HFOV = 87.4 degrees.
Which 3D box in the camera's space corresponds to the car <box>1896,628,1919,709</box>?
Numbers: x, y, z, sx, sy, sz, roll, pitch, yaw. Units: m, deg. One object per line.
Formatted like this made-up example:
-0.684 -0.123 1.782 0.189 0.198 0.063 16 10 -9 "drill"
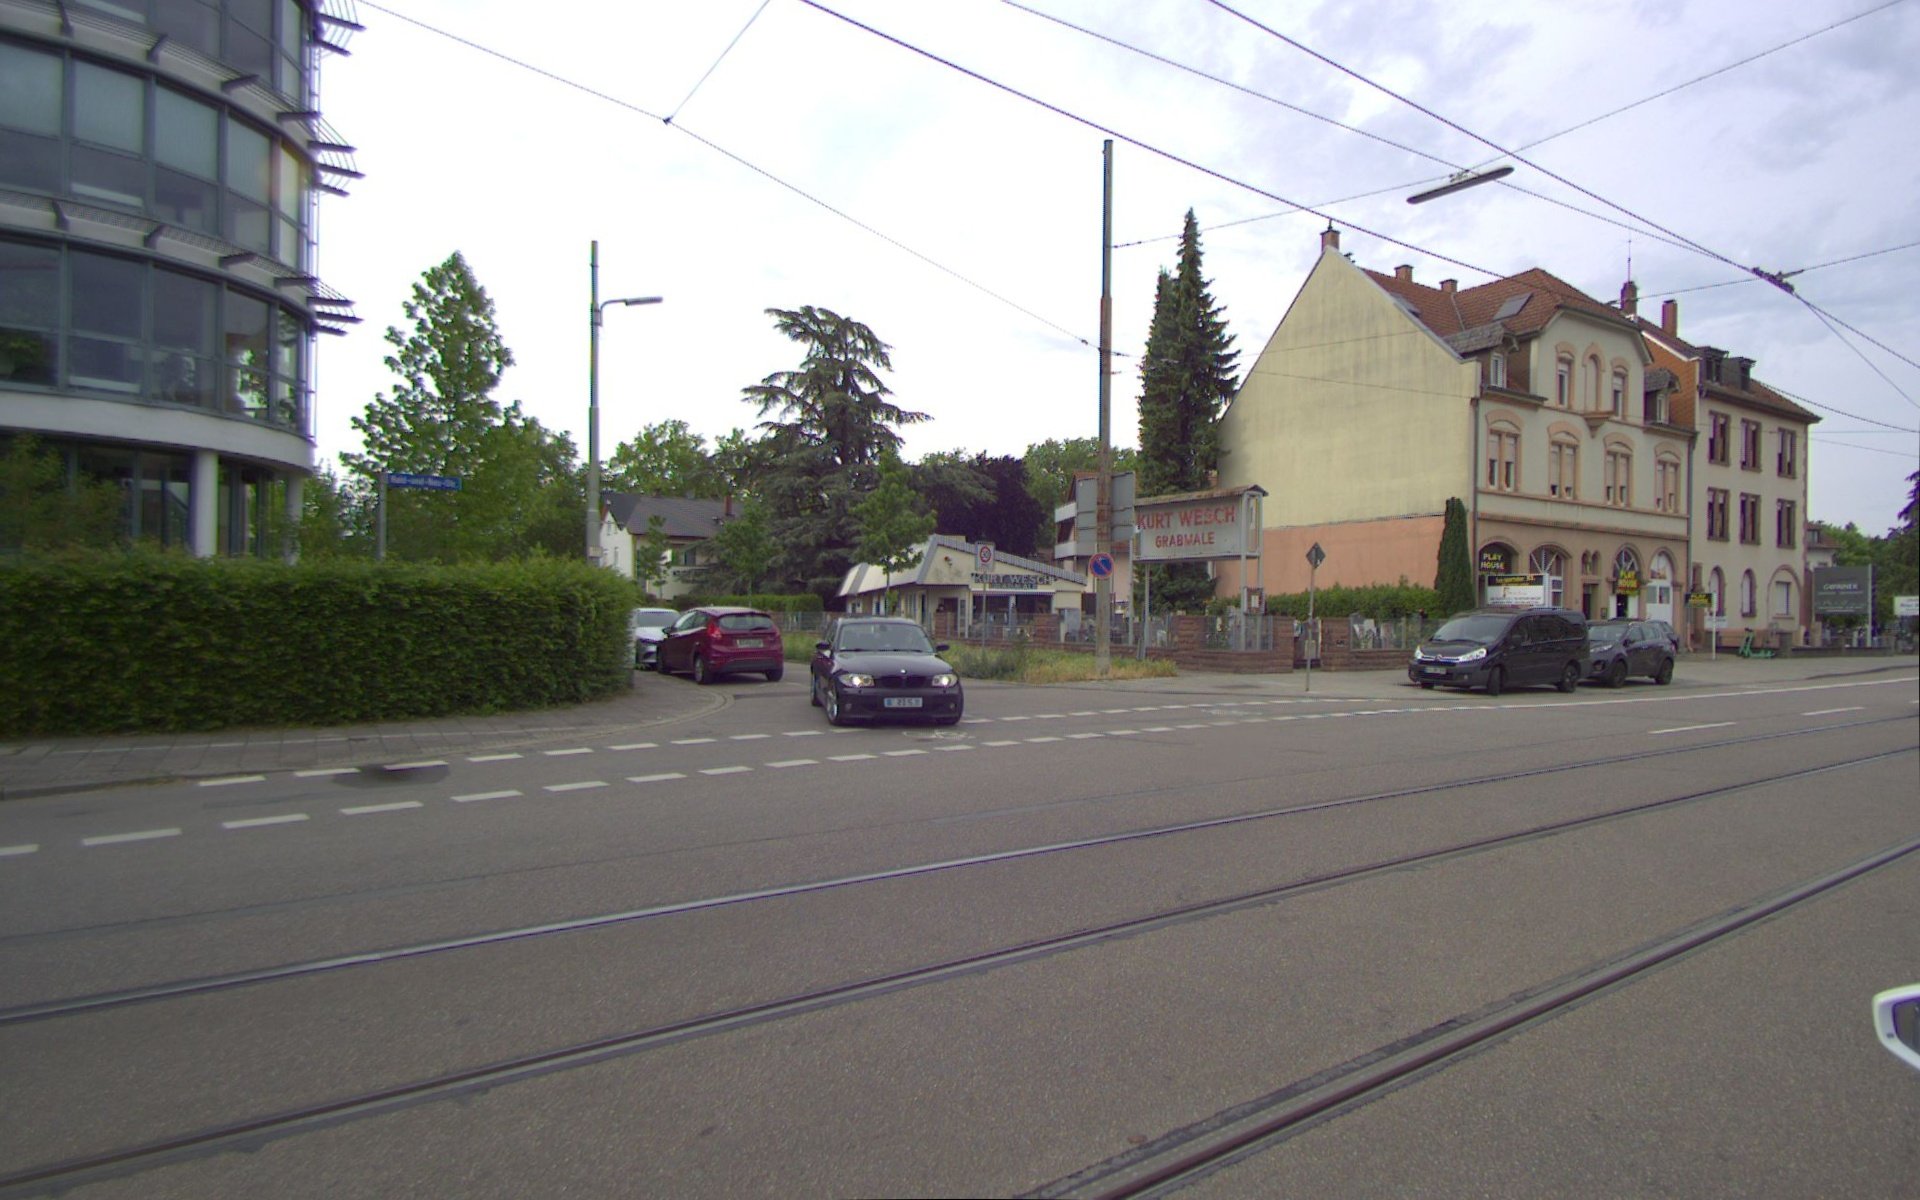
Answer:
19.283 1.226 16.885 4.792 1.446 1.952 0 -1 23 "car"
